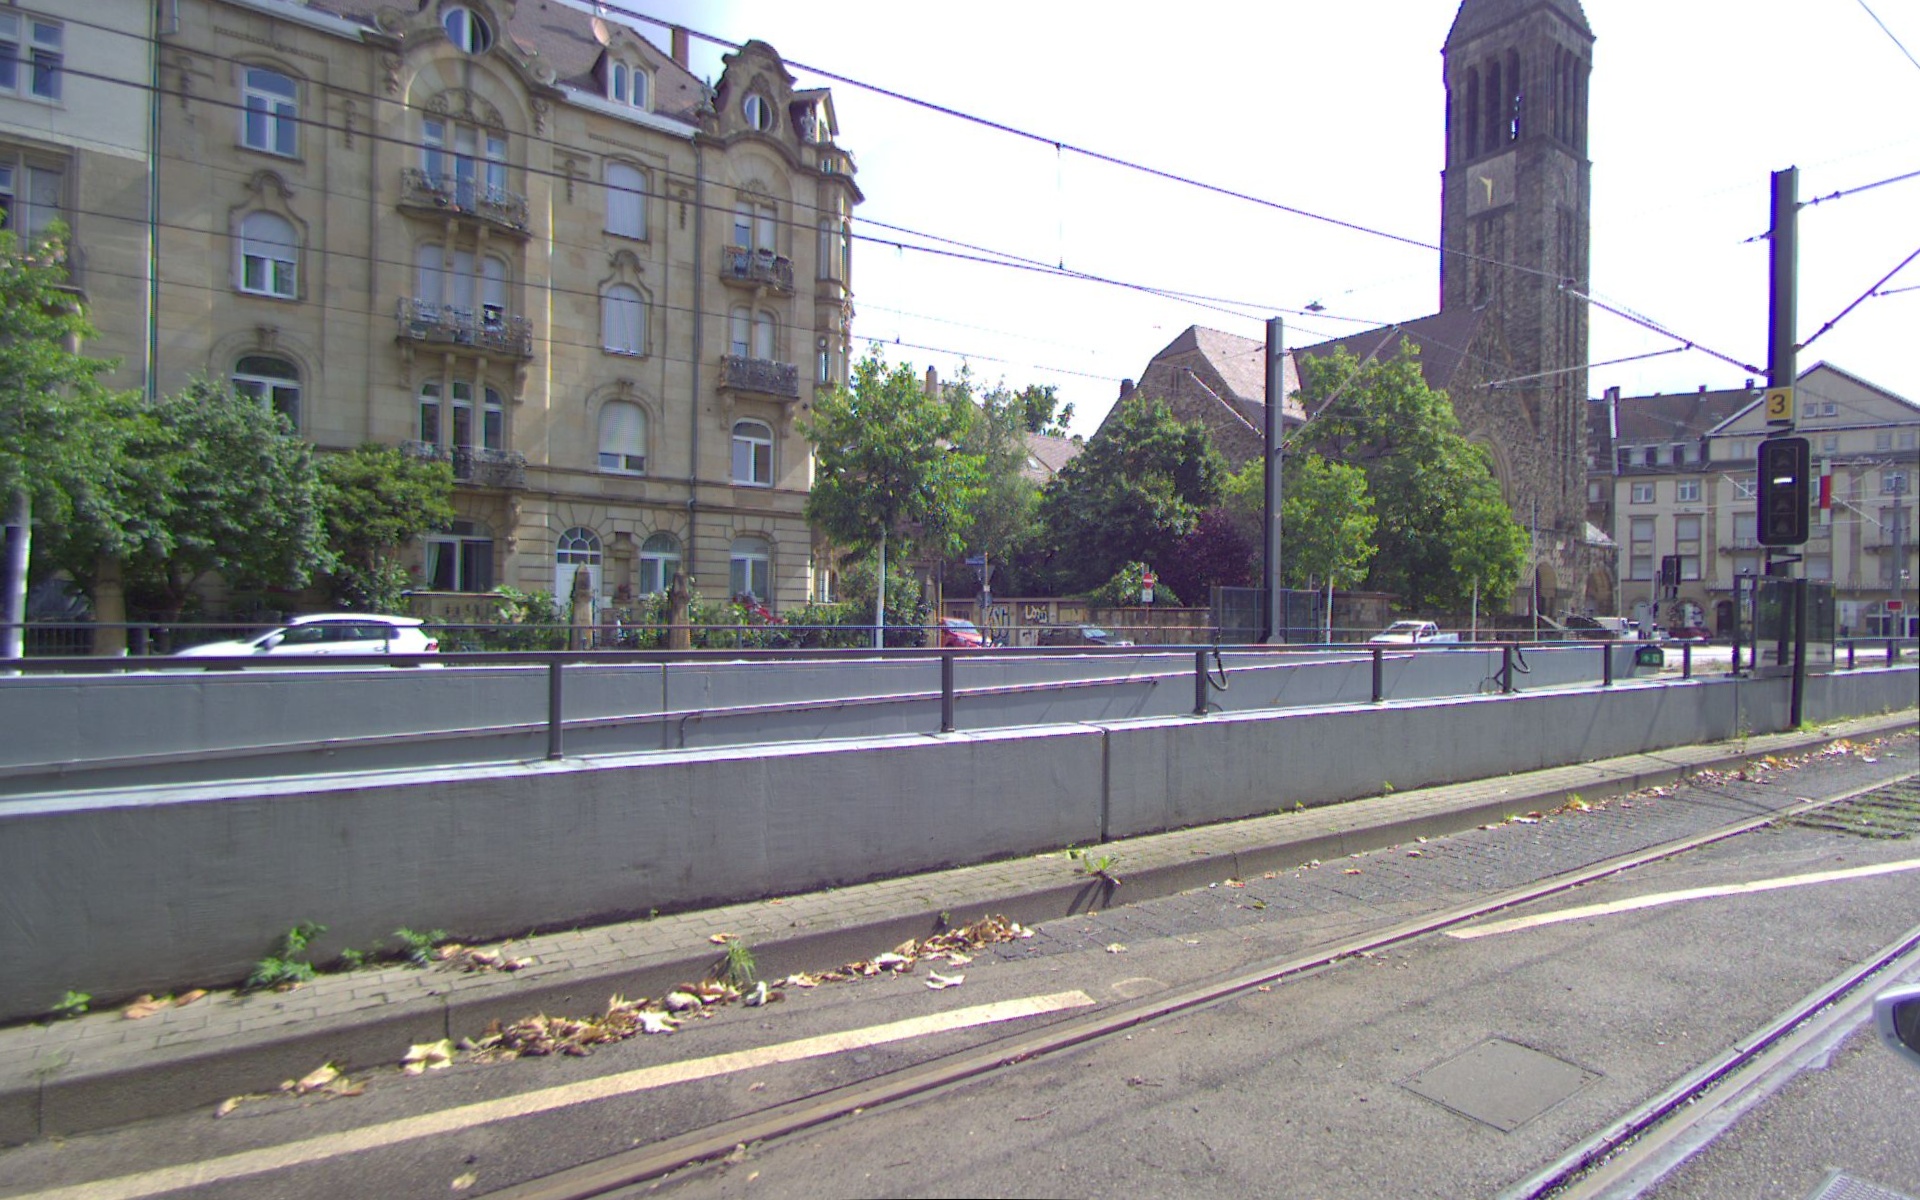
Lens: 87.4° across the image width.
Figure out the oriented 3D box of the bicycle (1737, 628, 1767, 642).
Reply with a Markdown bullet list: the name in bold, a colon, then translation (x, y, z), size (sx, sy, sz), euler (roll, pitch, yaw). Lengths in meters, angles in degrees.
- **bicycle**: translation (67.051, 2.993, 85.080), size (1.937, 1.129, 0.487), euler (0, -1, 19)

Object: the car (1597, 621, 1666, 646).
- **car**: translation (43.072, 2.152, 64.467), size (1.837, 1.522, 3.243), euler (1, -1, -36)

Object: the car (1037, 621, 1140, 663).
- **car**: translation (4.749, 1.524, 37.618), size (1.706, 1.483, 3.938), euler (1, -1, -34)

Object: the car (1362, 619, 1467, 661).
- **car**: translation (17.939, 1.541, 39.590), size (4.373, 1.524, 1.917), euler (1, -1, -37)

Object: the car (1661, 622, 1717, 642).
- **car**: translation (64.169, 2.794, 88.449), size (1.961, 1.696, 3.999), euler (1, -1, -2)

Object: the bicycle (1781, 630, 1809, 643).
- **bicycle**: translation (71.146, 3.100, 85.593), size (2.529, 1.067, 0.801), euler (1, -1, -23)

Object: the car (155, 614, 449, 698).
- **car**: translation (-11.752, 0.946, 18.152), size (4.273, 1.345, 1.739), euler (1, -1, -37)

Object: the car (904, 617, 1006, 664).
- **car**: translation (-0.222, 1.366, 34.854), size (1.911, 1.483, 3.761), euler (1, -1, -31)

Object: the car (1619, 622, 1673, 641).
- **car**: translation (61.652, 2.796, 90.308), size (1.770, 1.661, 3.993), euler (1, -1, -10)

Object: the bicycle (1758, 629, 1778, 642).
- **bicycle**: translation (69.595, 3.065, 86.556), size (0.791, 1.067, 2.563), euler (0, -1, 26)

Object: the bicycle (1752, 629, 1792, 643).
- **bicycle**: translation (68.755, 3.042, 85.045), size (2.519, 1.067, 0.681), euler (0, -1, 28)

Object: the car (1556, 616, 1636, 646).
- **car**: translation (39.996, 1.941, 63.232), size (1.877, 1.772, 3.842), euler (1, -1, -37)

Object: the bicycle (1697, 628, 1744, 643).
- **bicycle**: translation (66.153, 3.100, 87.377), size (0.983, 1.270, 3.308), euler (1, -1, -18)
